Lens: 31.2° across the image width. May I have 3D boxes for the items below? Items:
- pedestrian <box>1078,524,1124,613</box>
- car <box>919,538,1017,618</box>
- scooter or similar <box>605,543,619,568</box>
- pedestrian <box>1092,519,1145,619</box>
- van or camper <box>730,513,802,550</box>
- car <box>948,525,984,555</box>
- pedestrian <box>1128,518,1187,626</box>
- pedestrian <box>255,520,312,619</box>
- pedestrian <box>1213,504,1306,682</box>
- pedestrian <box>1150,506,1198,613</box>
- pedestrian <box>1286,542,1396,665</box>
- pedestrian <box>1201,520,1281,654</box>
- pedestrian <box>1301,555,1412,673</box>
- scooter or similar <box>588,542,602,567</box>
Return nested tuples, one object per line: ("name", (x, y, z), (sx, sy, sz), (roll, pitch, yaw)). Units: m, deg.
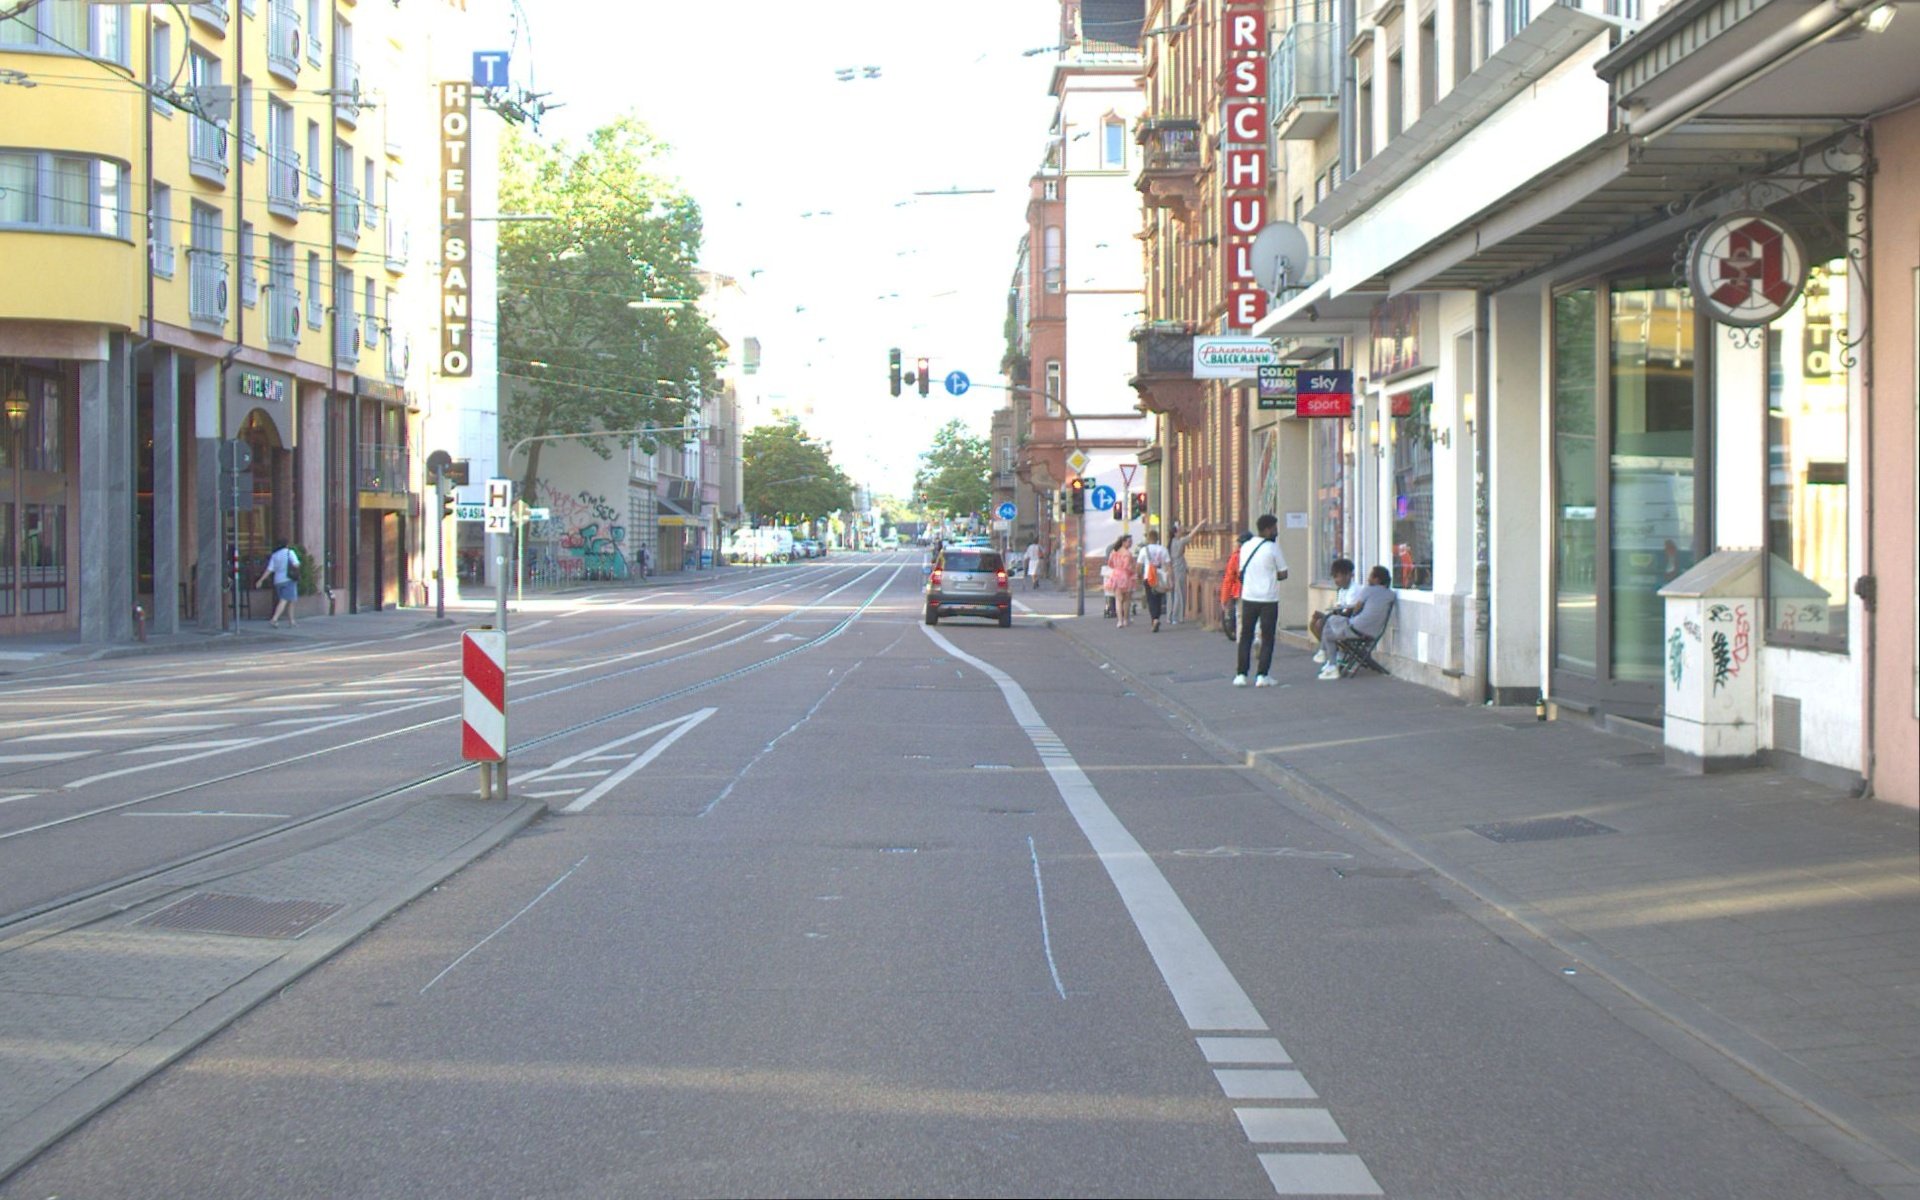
("pedestrian", (2.930, -0.655, 71.409), (0.805, 1.793, 0.761), (-4, 2, 0))
("car", (0.137, -0.486, 72.181), (1.993, 1.612, 4.000), (0, 1, -1))
("scooter or similar", (-14.787, -1.913, 146.146), (0.516, 1.053, 1.478), (0, 1, -2))
("pedestrian", (2.940, -0.584, 63.803), (0.805, 1.793, 0.762), (-4, 2, -2))
("van or camper", (-13.742, -4.845, 243.175), (4.634, 2.554, 2.000), (0, 1, -31))
("car", (0.349, -3.402, 195.180), (1.950, 1.678, 4.000), (0, 1, 1))
("pedestrian", (3.422, -0.488, 59.587), (0.805, 1.793, 1.092), (-4, 2, -2))
("pedestrian", (-12.996, -0.590, 66.049), (0.751, 1.812, 1.046), (5, 1, 0))
("pedestrian", (3.181, -0.083, 36.485), (0.705, 1.806, 0.679), (-5, 2, 16))
("pedestrian", (3.924, -0.749, 62.954), (0.690, 1.902, 0.670), (-4, 2, -2))
("pedestrian", (4.180, 0.043, 37.736), (0.828, 1.251, 0.707), (-7, 2, -35))
("pedestrian", (3.592, -0.177, 43.986), (0.798, 1.622, 0.825), (-6, 1, 0))
("pedestrian", (4.220, 0.146, 36.653), (0.704, 1.170, 1.016), (-6, 2, -19))
("scooter or similar", (-15.502, -1.945, 146.073), (0.516, 1.042, 1.478), (0, 1, -2))
